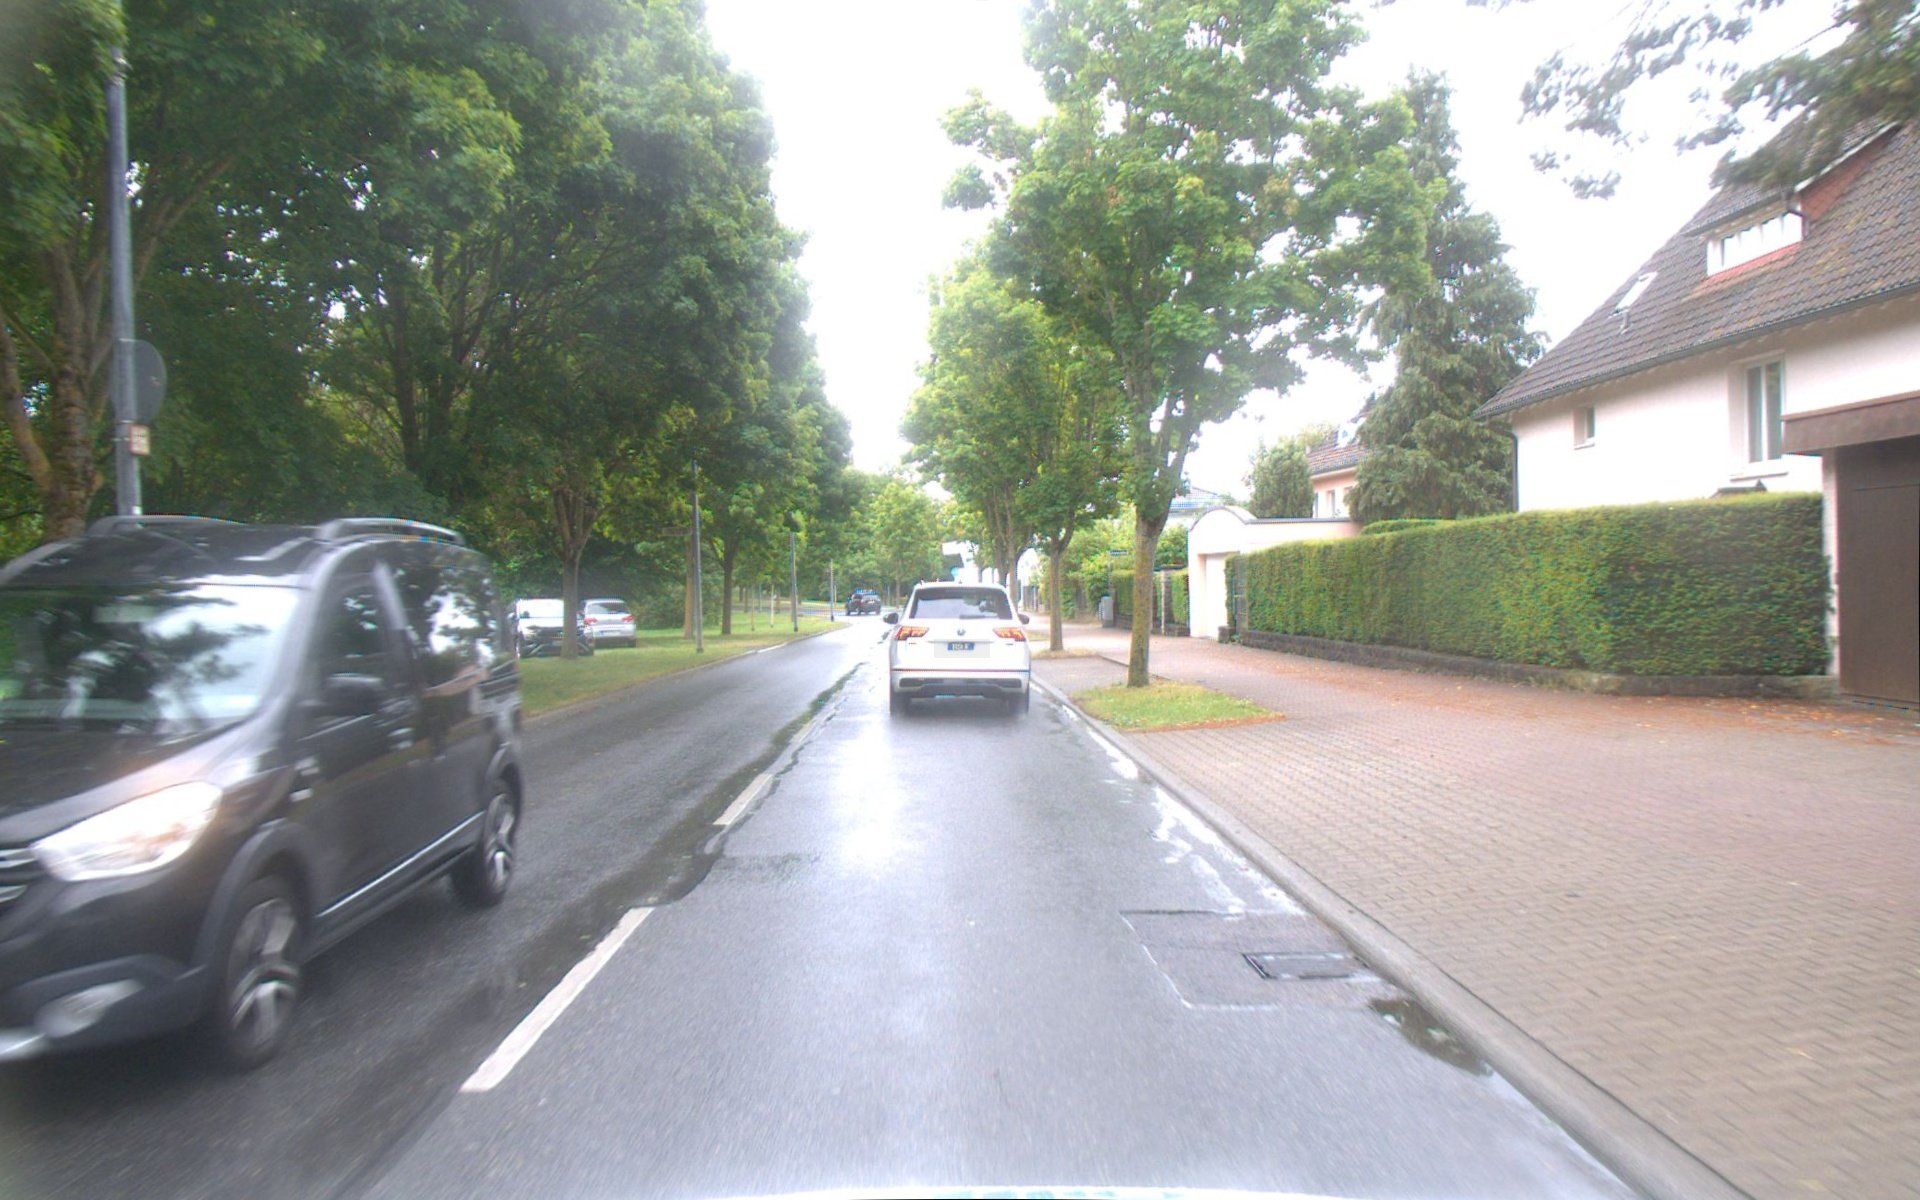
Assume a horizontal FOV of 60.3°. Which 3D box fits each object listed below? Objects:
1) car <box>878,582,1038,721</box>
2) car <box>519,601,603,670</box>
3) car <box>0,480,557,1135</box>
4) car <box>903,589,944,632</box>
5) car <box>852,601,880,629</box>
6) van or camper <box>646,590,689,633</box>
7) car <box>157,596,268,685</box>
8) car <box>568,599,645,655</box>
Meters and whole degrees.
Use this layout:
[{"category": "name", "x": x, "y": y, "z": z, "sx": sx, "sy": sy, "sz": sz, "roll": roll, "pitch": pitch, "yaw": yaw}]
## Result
[{"category": "car", "x": -0.038, "y": 0.620, "z": 22.175, "sx": 1.934, "sy": 1.682, "sz": 4.176, "roll": 0, "pitch": 0, "yaw": 0}, {"category": "car", "x": -9.710, "y": 0.819, "z": 40.130, "sx": 1.857, "sy": 1.540, "sz": 4.233, "roll": -1, "pitch": 0, "yaw": -14}, {"category": "car", "x": -3.009, "y": 0.577, "z": 6.713, "sx": 1.740, "sy": 1.804, "sz": 4.284, "roll": -1, "pitch": 0, "yaw": -1}, {"category": "car", "x": -1.781, "y": 0.505, "z": 81.788, "sx": 1.862, "sy": 2.049, "sz": 3.944, "roll": 1, "pitch": 0, "yaw": 1}, {"category": "car", "x": -7.025, "y": 1.091, "z": 123.578, "sx": 1.864, "sy": 2.049, "sz": 3.939, "roll": 1, "pitch": 0, "yaw": -6}, {"category": "van or camper", "x": -17.720, "y": 0.701, "z": 100.518, "sx": 2.340, "sy": 2.402, "sz": 6.797, "roll": -2, "pitch": 0, "yaw": -9}, {"category": "car", "x": -16.749, "y": 0.948, "z": 37.249, "sx": 1.876, "sy": 1.801, "sz": 4.868, "roll": -2, "pitch": -2, "yaw": -21}, {"category": "car", "x": -11.030, "y": 0.806, "z": 51.491, "sx": 1.852, "sy": 1.454, "sz": 4.195, "roll": -2, "pitch": 3, "yaw": -19}]
